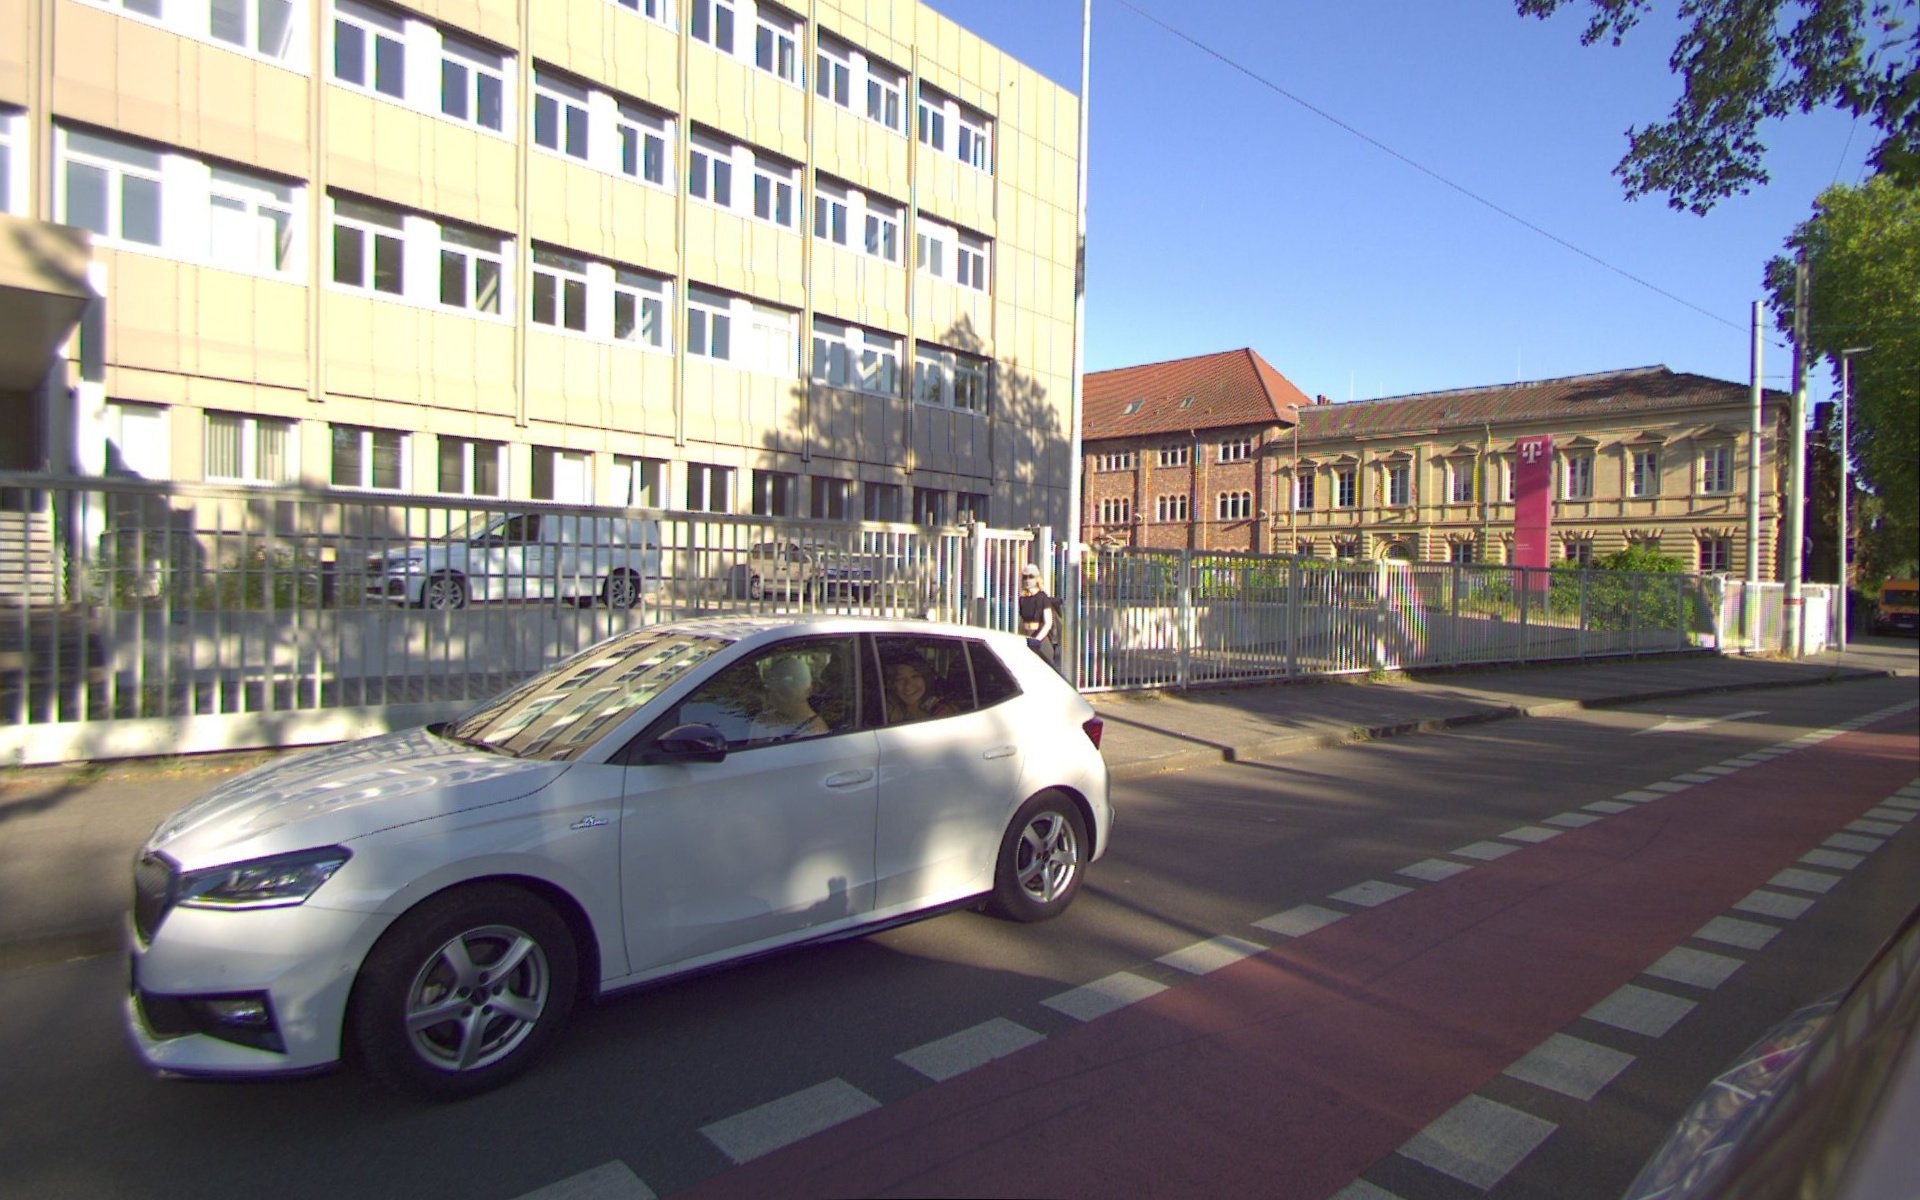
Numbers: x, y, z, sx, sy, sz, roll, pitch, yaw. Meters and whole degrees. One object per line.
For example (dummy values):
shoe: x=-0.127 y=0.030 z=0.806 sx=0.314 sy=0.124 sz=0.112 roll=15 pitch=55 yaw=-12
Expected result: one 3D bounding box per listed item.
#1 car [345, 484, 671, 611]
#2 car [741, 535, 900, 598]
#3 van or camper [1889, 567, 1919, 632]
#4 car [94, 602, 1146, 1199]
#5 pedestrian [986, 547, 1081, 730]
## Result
car: x=-7.588 y=-0.817 z=17.326 sx=1.994 sy=1.865 sz=4.709 roll=2 pitch=2 yaw=44
car: x=-3.926 y=-0.913 z=27.990 sx=4.563 sy=1.601 sz=1.968 roll=2 pitch=2 yaw=44
van or camper: x=41.140 y=-0.053 z=43.235 sx=1.994 sy=2.626 sz=5.537 roll=0 pitch=0 yaw=44
car: x=-1.103 y=0.728 z=4.396 sx=4.005 sy=1.406 sz=1.703 roll=0 pitch=0 yaw=-42
pedestrian: x=0.752 y=0.368 z=10.377 sx=0.757 sy=1.784 sz=0.592 roll=0 pitch=1 yaw=-41
